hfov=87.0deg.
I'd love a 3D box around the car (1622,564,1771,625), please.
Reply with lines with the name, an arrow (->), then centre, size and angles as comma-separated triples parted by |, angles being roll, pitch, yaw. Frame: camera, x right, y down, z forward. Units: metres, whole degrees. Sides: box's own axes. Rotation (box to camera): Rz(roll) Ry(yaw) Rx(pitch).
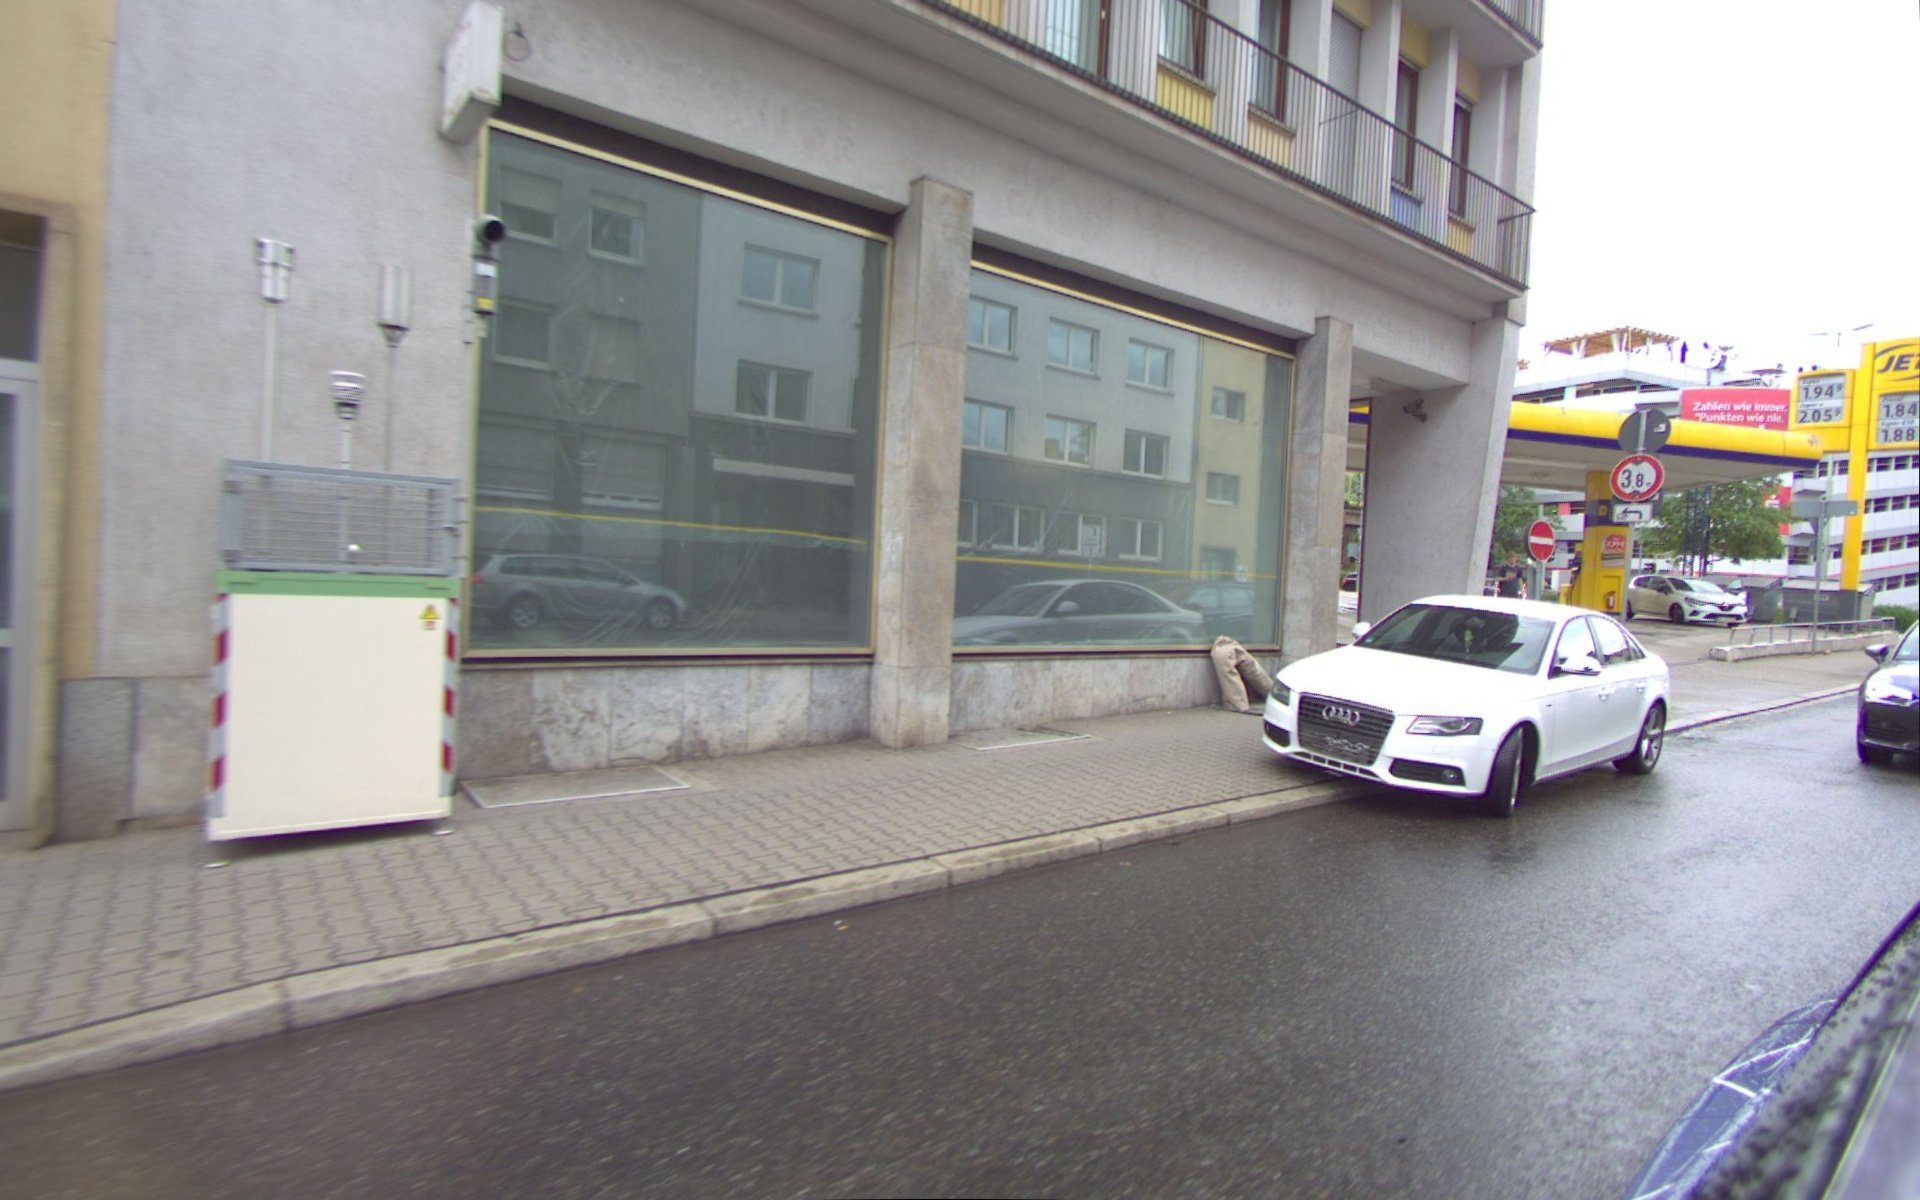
car -> 21.706, -0.229, 30.052 | 1.716, 1.459, 3.996 | 3, 4, 6

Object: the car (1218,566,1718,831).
car -> 4.345, 0.595, 8.335 | 4.526, 1.418, 1.900 | 1, 7, -40

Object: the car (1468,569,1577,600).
car -> 31.671, -0.889, 57.119 | 1.966, 1.652, 5.030 | 1, 1, -42

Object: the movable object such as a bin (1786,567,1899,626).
movable object such as a bin -> 26.395, -0.125, 30.283 | 1.740, 1.593, 2.163 | 1, 3, -36

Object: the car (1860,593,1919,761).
car -> 10.117, 0.679, 9.603 | 4.501, 1.405, 1.738 | 1, 1, -40

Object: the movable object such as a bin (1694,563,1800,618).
movable object such as a bin -> 24.925, -0.316, 32.076 | 1.740, 1.574, 2.163 | 1, 4, -36

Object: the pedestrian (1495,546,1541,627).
pedestrian -> 12.744, -0.321, 23.126 | 0.649, 1.792, 0.529 | 4, 4, 11
